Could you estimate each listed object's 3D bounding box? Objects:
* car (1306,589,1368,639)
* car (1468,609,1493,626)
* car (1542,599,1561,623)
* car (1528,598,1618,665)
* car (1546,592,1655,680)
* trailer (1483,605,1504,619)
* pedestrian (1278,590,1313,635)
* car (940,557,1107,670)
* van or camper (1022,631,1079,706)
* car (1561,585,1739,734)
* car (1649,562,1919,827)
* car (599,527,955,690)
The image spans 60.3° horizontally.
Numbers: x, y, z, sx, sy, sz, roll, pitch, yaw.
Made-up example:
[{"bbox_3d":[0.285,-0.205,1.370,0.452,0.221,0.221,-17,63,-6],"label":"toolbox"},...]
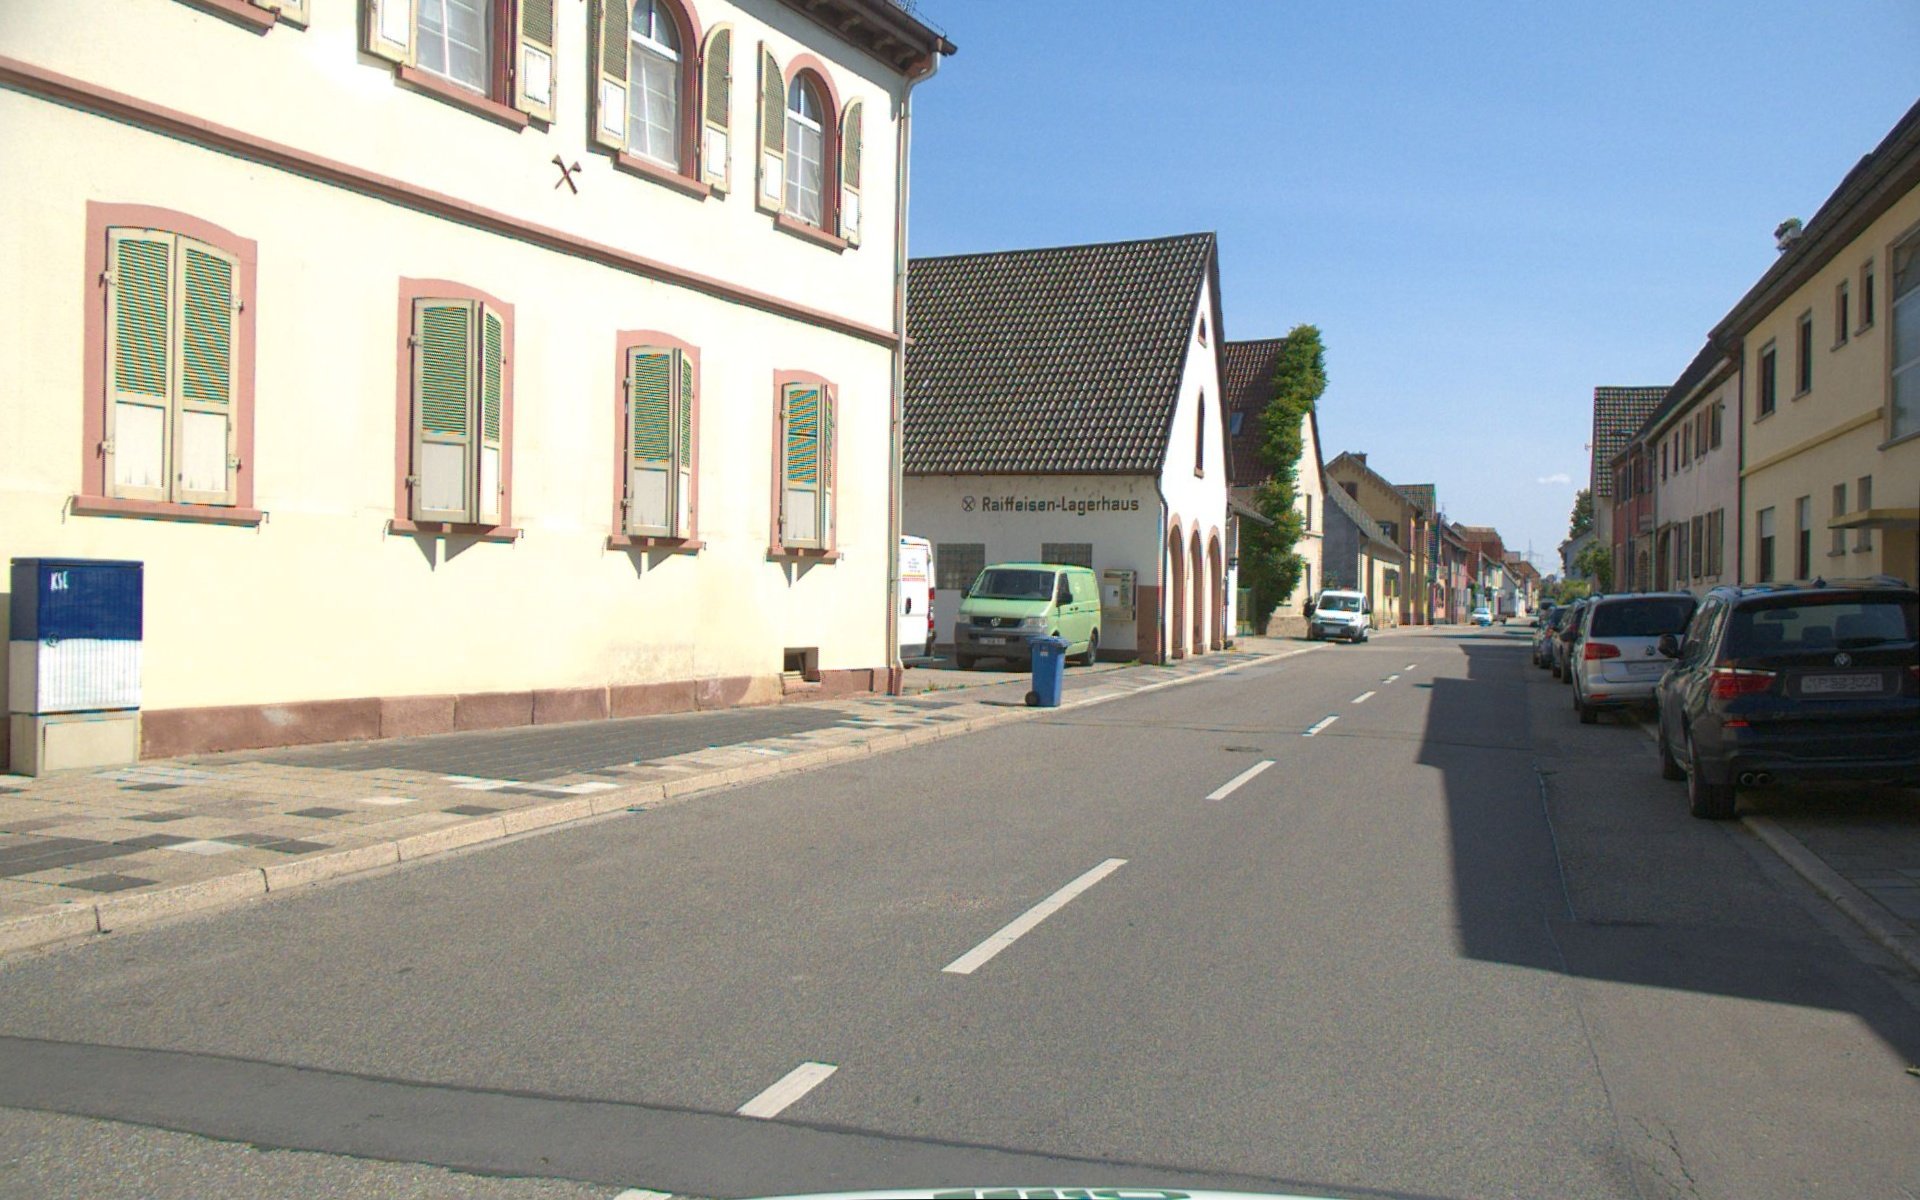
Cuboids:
[{"bbox_3d":[13.443,0.484,58.878,1.816,1.676,4.432,1,0,17],"label":"car"},{"bbox_3d":[46.299,1.575,147.055,1.952,1.467,4.001,0,0,20],"label":"car"},{"bbox_3d":[65.716,1.177,183.725,1.975,2.612,4.001,0,0,19],"label":"car"},{"bbox_3d":[14.347,0.708,38.880,1.662,1.495,4.413,0,0,16],"label":"car"},{"bbox_3d":[12.481,0.659,32.403,1.663,1.611,4.029,0,0,17],"label":"car"},{"bbox_3d":[52.583,1.175,163.080,1.952,1.109,4.002,0,2,18],"label":"trailer"},{"bbox_3d":[12.107,0.440,59.693,1.112,1.579,1.017,1,0,17],"label":"pedestrian"},{"bbox_3d":[1.326,0.232,31.950,1.952,1.999,4.671,1,0,19],"label":"car"},{"bbox_3d":[1.237,0.921,22.489,0.577,0.968,0.600,1,0,24],"label":"van or camper"},{"bbox_3d":[9.210,0.725,22.372,1.858,1.758,4.250,2,0,18],"label":"car"},{"bbox_3d":[6.764,0.622,13.367,1.805,1.732,5.182,-1,0,18],"label":"car"},{"bbox_3d":[-2.829,0.068,25.262,5.078,2.235,2.119,2,1,29],"label":"car"}]
